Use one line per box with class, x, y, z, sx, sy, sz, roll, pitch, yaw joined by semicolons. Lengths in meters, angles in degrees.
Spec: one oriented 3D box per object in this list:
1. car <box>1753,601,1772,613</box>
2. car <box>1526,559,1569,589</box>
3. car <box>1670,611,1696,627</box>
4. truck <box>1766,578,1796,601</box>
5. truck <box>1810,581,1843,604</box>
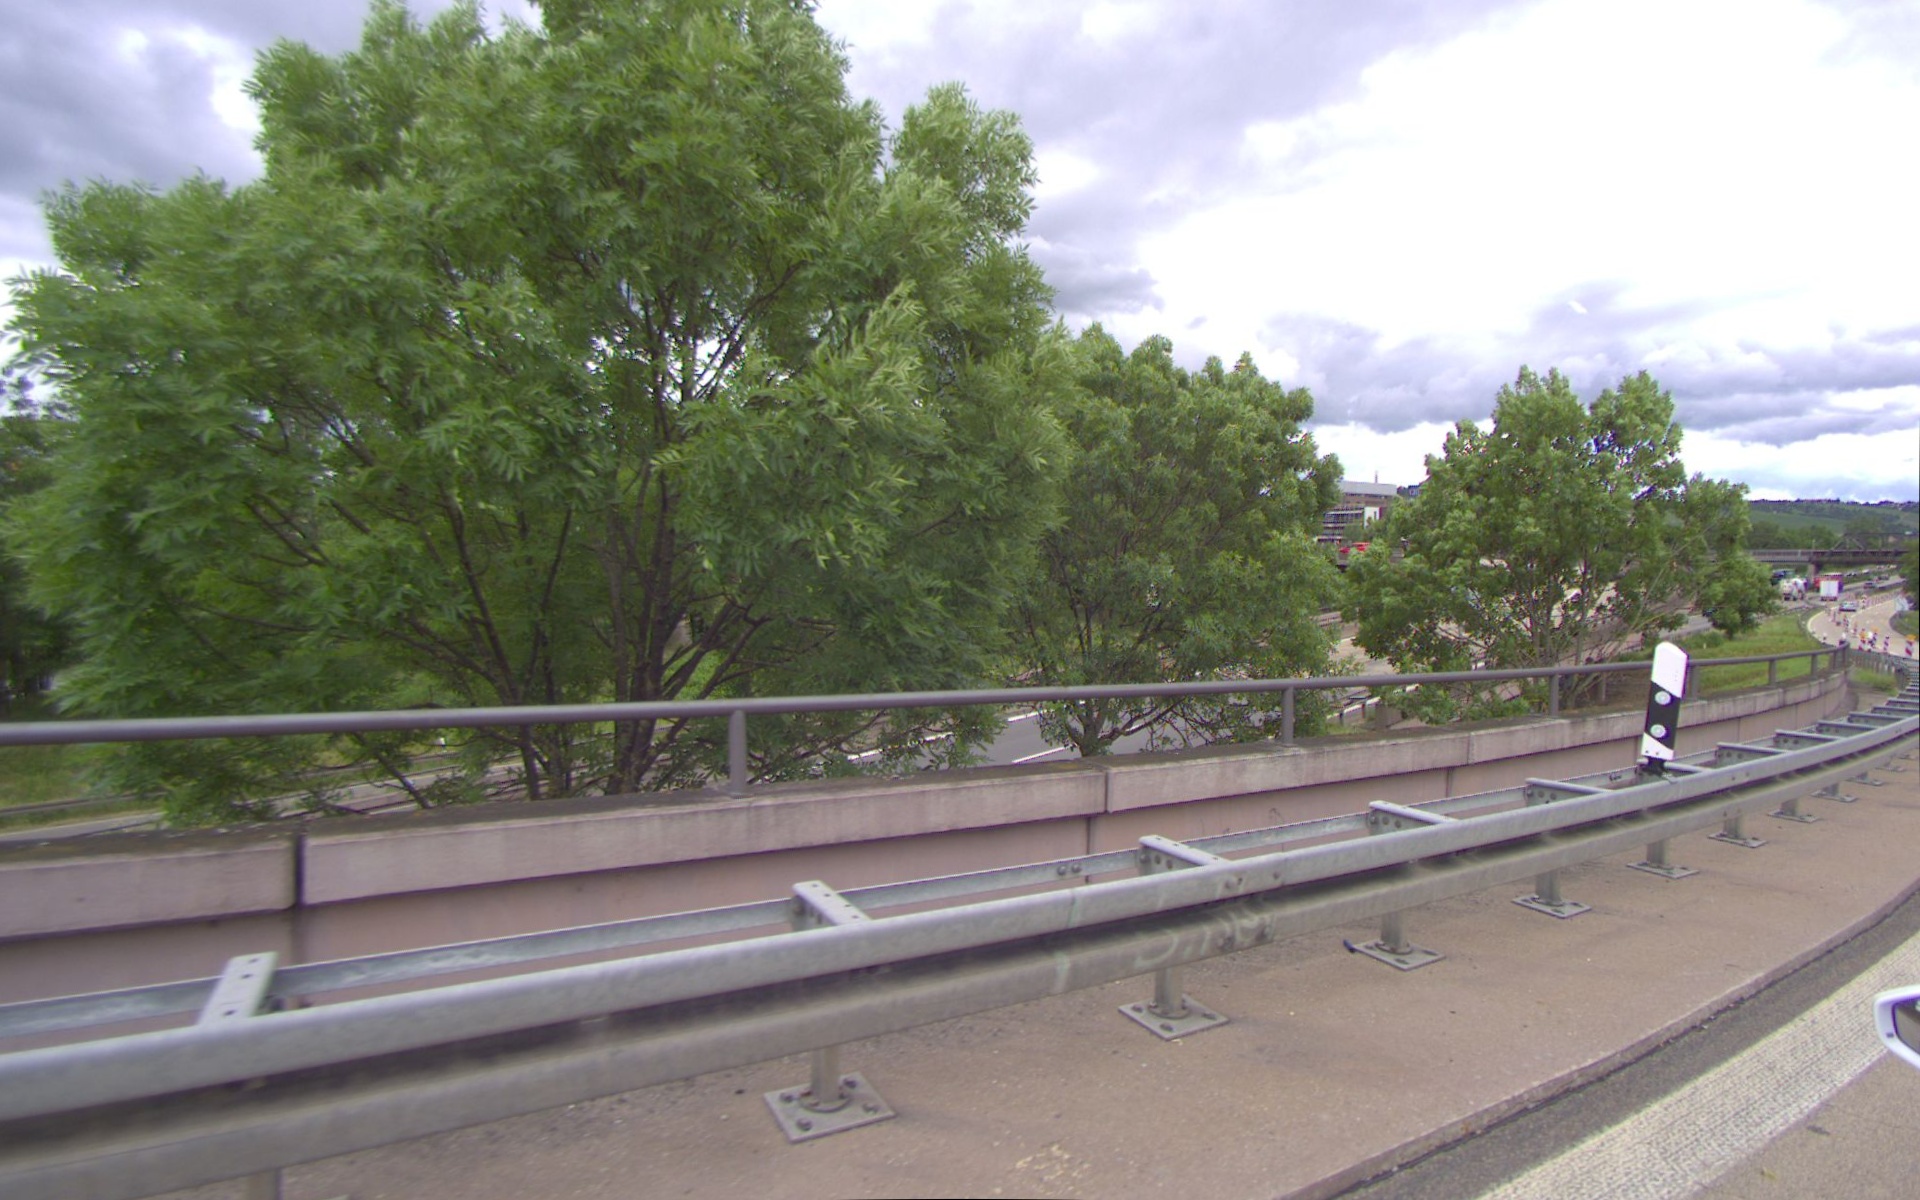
car;127.079;1.129;159.021;1.972;1.640;3.975;3;3;44
car;40.022;-1.769;68.414;1.969;1.795;3.984;2;-1;38
car;87.601;2.298;121.686;1.972;1.640;3.975;3;3;44
truck;143.235;-1.837;175.223;3.251;3.905;7.617;3;3;44
truck;150.285;-1.335;174.109;7.605;3.649;3.257;-1;3;-42
